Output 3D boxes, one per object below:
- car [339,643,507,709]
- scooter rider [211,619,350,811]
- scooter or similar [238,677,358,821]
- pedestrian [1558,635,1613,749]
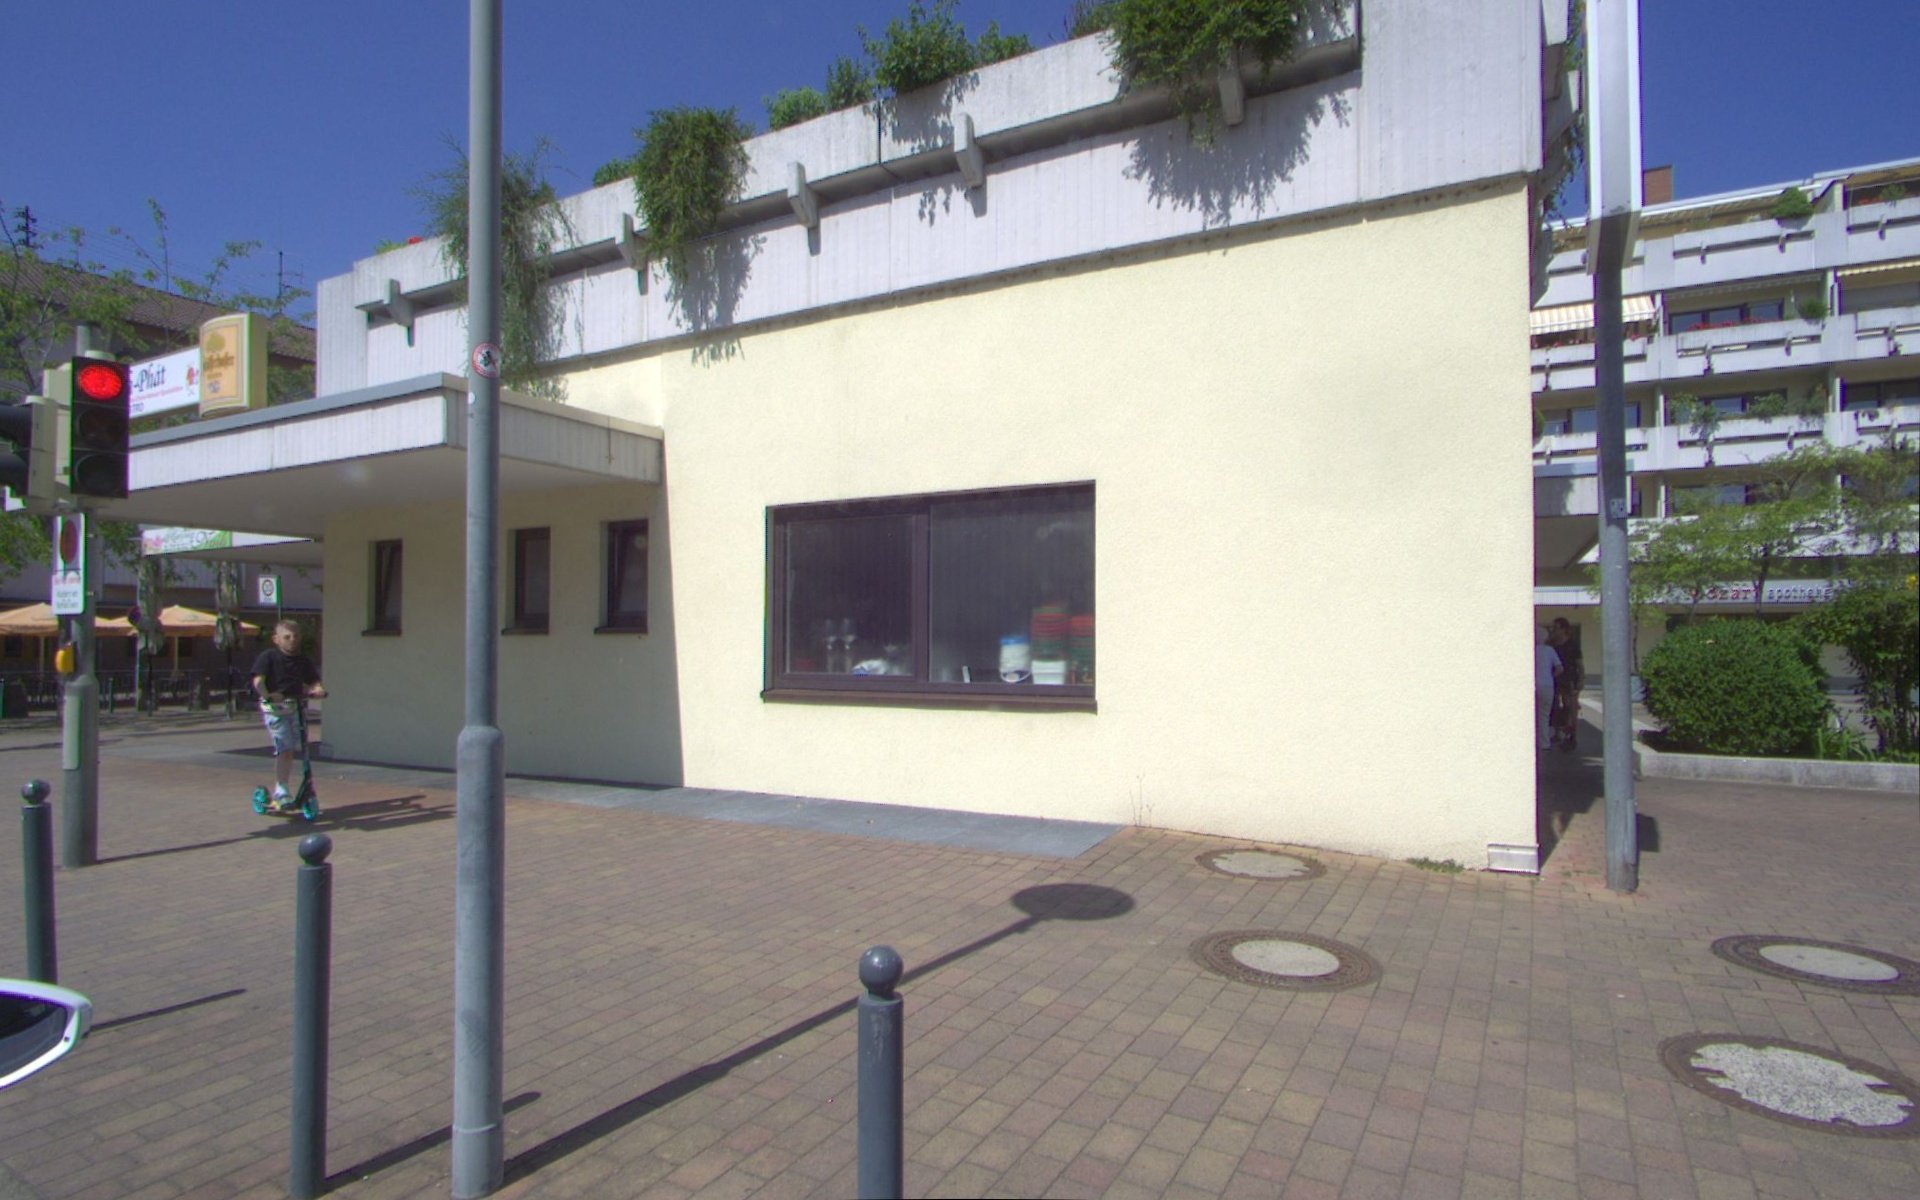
[{"bbox_3d":[-13.434,1.880,25.047,3.909,1.528,1.767,-2,-3,26],"label":"car"},{"bbox_3d":[-5.101,0.822,7.511,1.117,1.341,0.460,-1,-1,33],"label":"scooter rider"},{"bbox_3d":[-4.964,1.083,7.502,0.947,0.977,0.410,-1,-2,34],"label":"scooter or similar"},{"bbox_3d":[8.457,1.227,13.553,0.596,1.482,0.791,-1,-2,32],"label":"pedestrian"}]
